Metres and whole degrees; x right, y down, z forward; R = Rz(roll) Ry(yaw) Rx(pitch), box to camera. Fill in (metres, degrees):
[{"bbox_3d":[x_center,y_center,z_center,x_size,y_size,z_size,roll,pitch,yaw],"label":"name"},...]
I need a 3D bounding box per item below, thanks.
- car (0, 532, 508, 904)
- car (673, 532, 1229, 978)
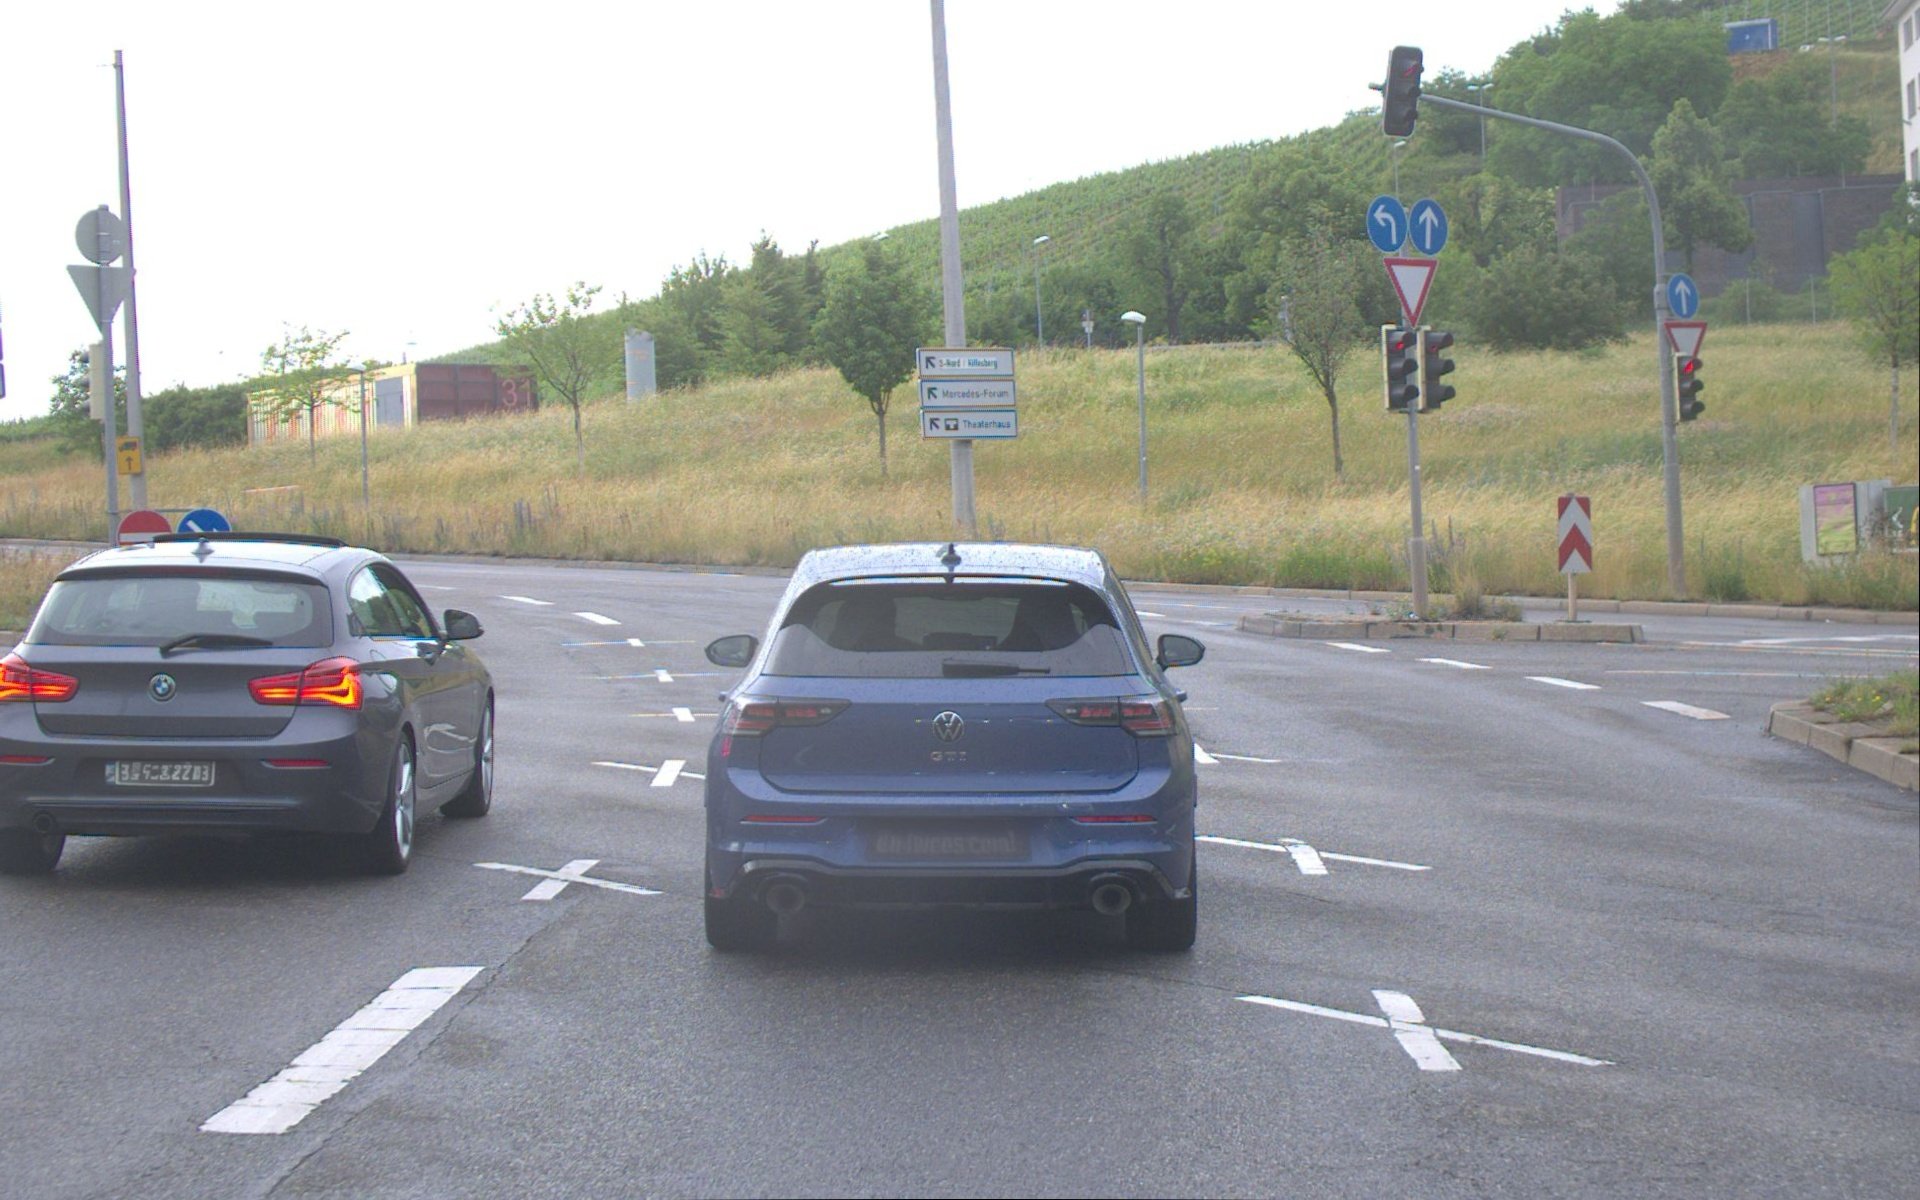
[{"bbox_3d":[-3.234,0.452,15.846,1.702,1.455,4.114,-2,1,0],"label":"car"},{"bbox_3d":[-0.029,0.504,13.364,1.825,1.456,3.808,-1,0,0],"label":"car"}]
